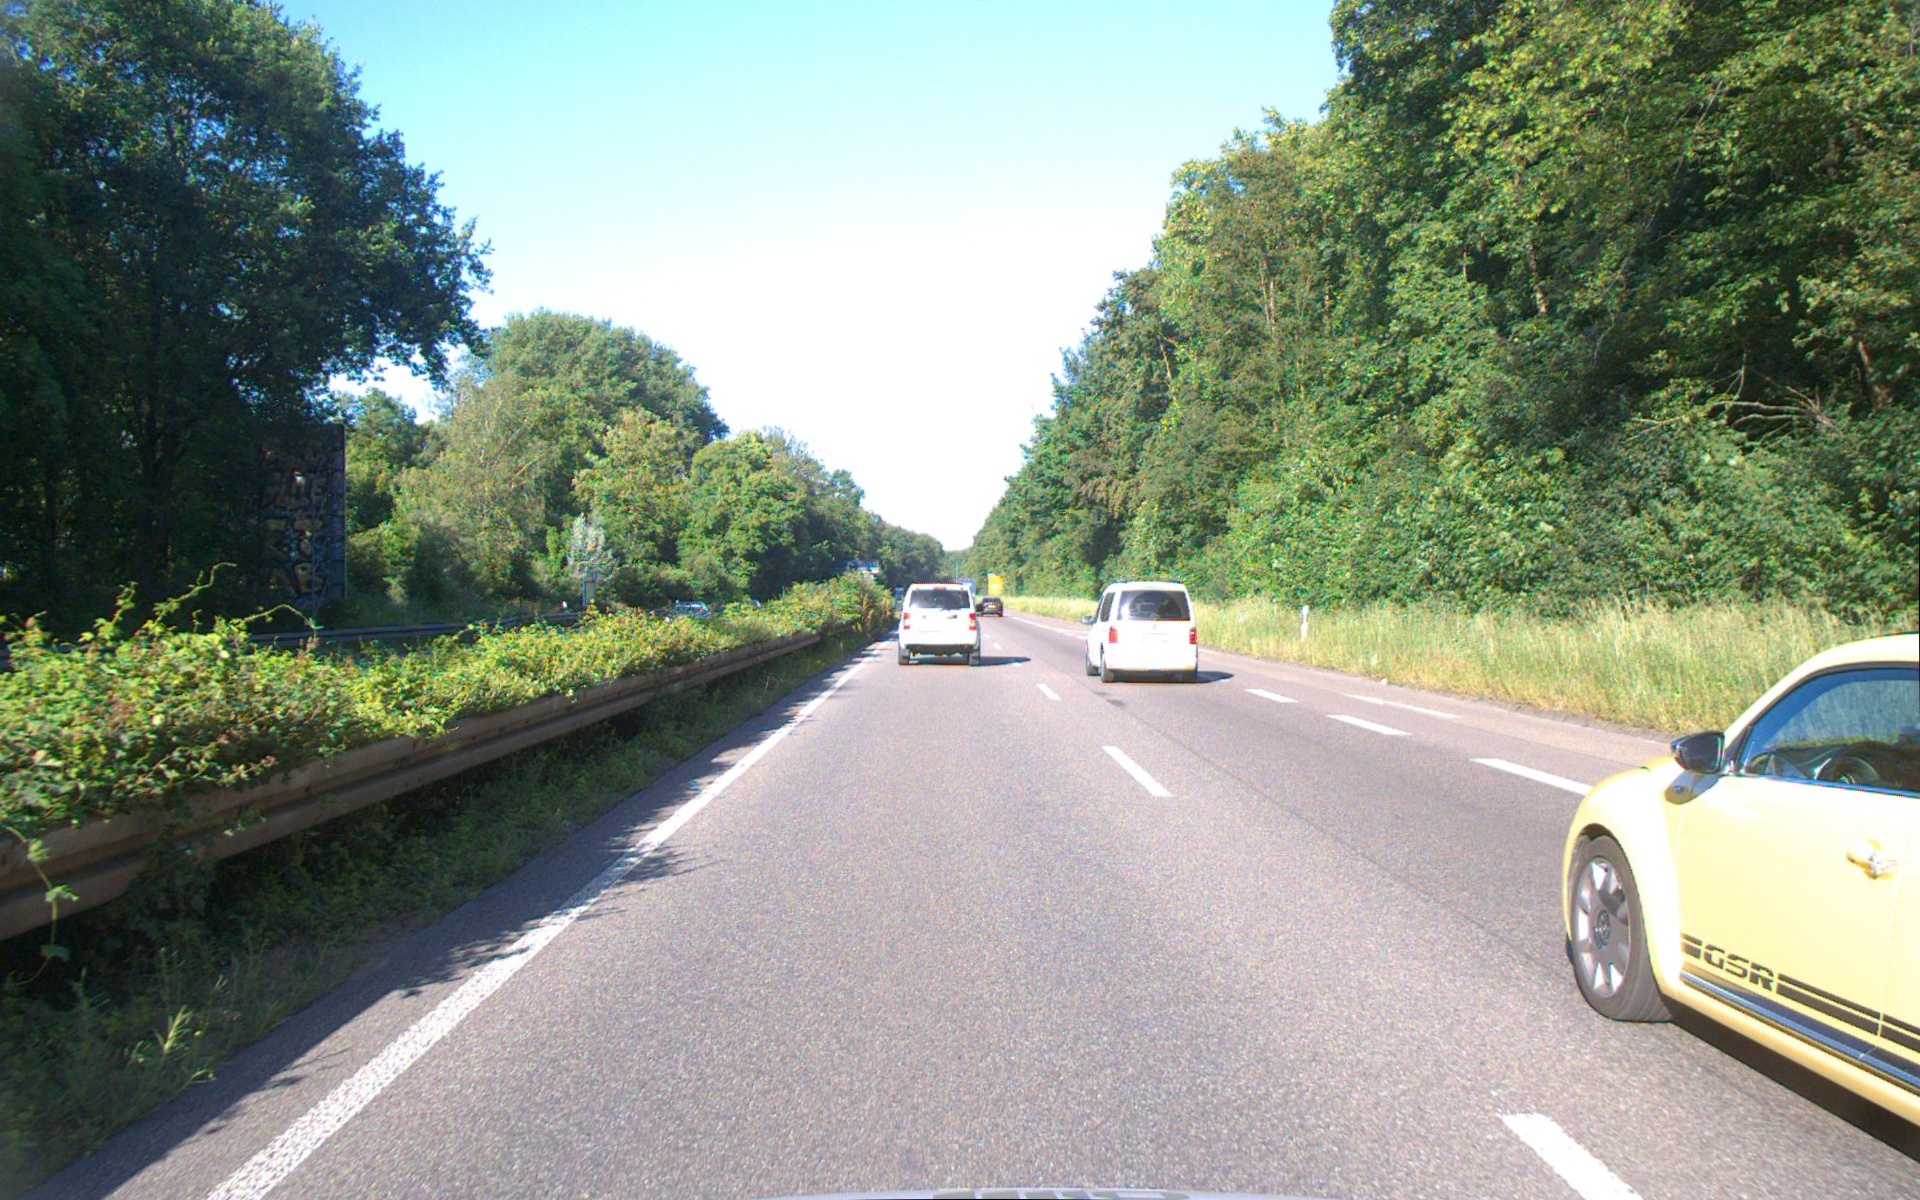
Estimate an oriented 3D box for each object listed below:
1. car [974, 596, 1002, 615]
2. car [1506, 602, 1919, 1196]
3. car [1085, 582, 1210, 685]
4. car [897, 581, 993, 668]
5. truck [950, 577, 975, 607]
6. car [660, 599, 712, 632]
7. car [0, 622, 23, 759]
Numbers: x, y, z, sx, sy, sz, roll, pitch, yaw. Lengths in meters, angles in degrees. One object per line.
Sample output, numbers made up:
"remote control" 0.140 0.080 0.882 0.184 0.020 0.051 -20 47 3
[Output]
"car" 2.114 0.394 123.909 1.953 1.422 3.999 -1 0 -1
"car" 3.328 0.765 4.929 1.842 1.487 4.354 0 0 -2
"car" 3.449 0.576 31.169 1.825 1.801 4.469 0 0 0
"car" -0.400 0.525 37.435 2.043 1.860 3.998 0 0 -3
"truck" 0.360 -1.169 242.166 3.425 4.245 8.860 -1 0 -1
"car" -12.762 0.706 77.267 1.921 1.475 4.504 0 0 -3
"car" -11.284 0.989 16.131 1.921 1.475 4.324 0 0 -2
